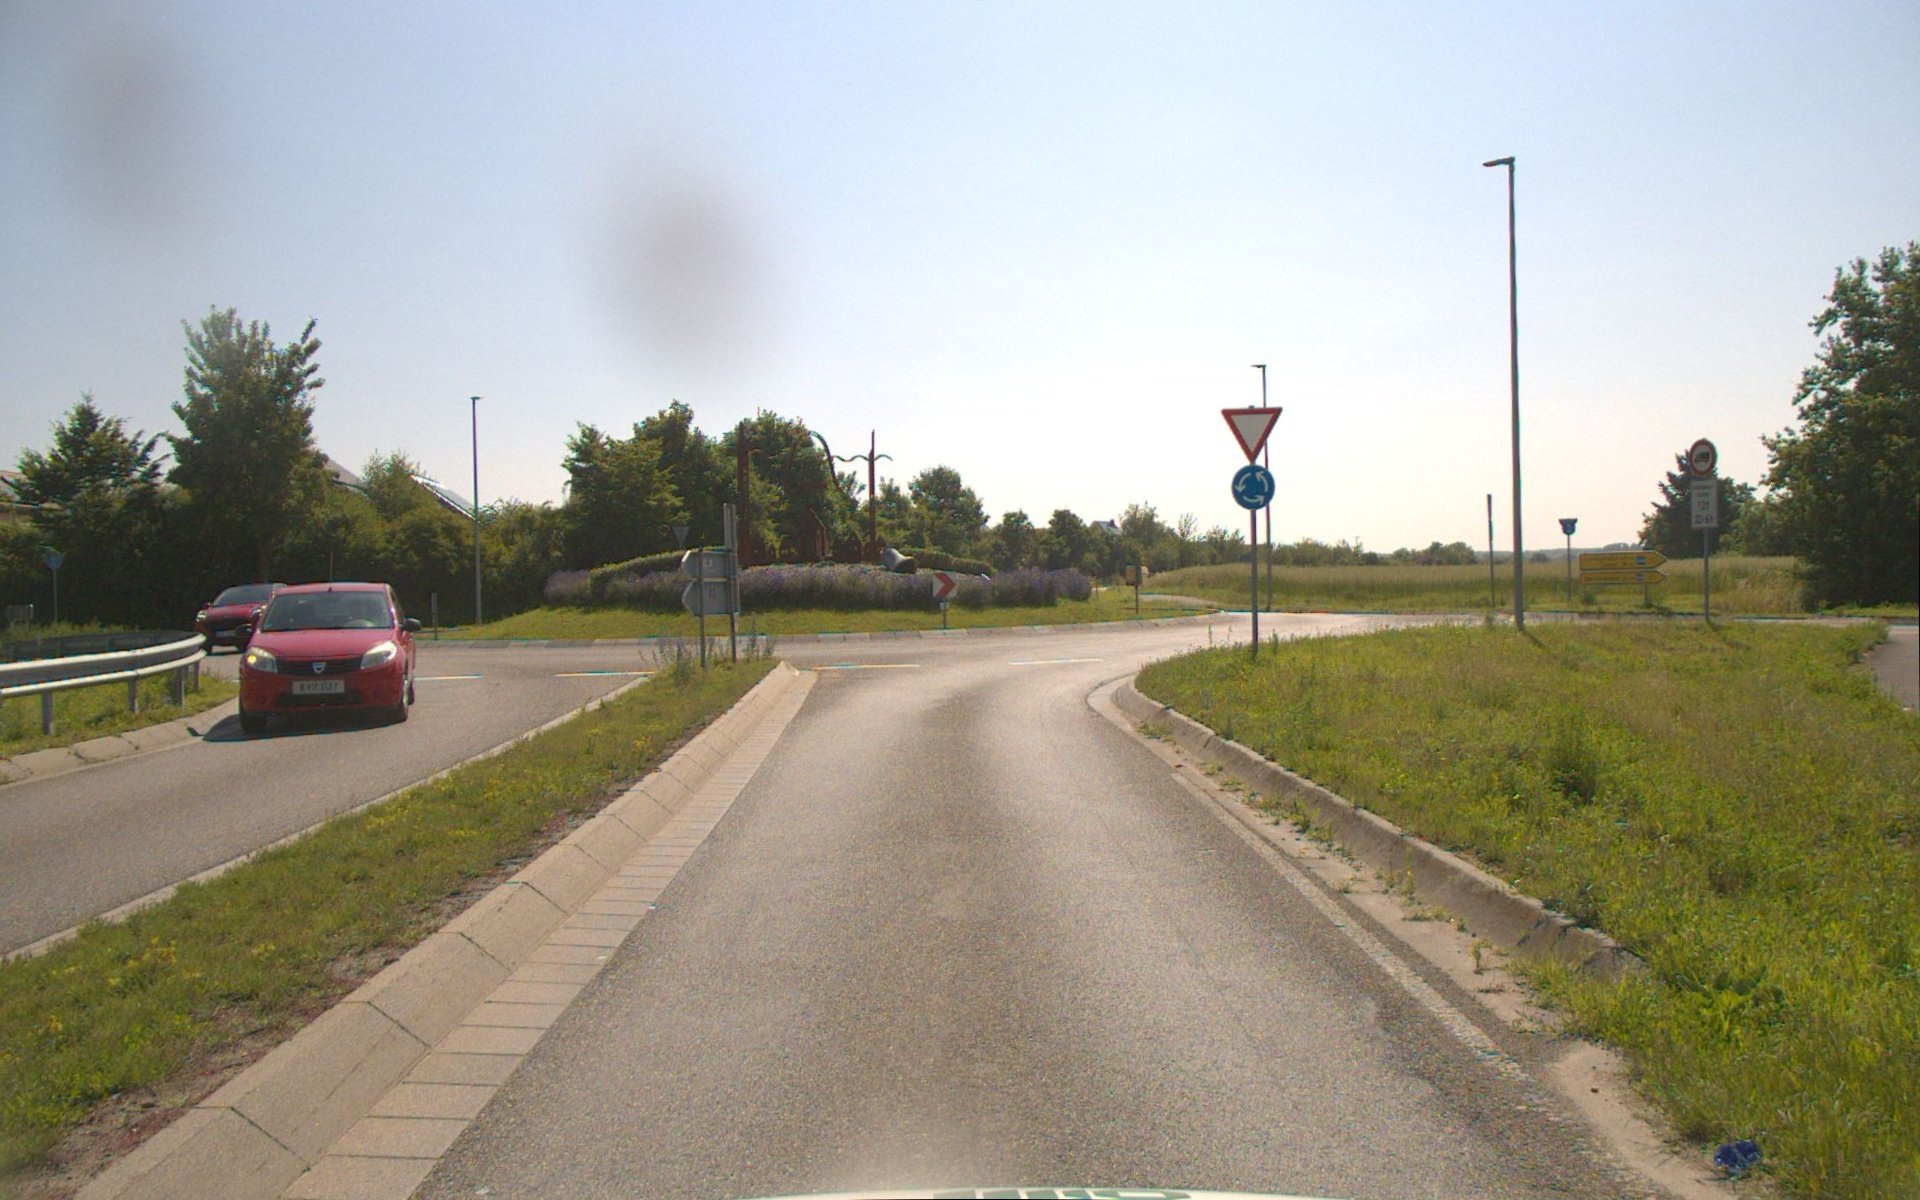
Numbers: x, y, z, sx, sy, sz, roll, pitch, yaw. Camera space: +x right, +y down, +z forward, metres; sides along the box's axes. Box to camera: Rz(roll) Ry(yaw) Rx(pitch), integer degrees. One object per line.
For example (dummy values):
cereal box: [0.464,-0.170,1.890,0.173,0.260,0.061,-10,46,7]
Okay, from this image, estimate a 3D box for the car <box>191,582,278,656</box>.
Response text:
car: [-17.029,0.405,38.901,1.721,1.549,3.804,-3,2,-23]

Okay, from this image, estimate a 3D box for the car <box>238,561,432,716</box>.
car: [-7.038,0.380,18.953,1.600,1.517,3.788,-3,1,-14]

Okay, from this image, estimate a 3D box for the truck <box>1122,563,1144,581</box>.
truck: [19.984,-3.242,190.970,1.951,2.049,4.003,-1,1,14]
